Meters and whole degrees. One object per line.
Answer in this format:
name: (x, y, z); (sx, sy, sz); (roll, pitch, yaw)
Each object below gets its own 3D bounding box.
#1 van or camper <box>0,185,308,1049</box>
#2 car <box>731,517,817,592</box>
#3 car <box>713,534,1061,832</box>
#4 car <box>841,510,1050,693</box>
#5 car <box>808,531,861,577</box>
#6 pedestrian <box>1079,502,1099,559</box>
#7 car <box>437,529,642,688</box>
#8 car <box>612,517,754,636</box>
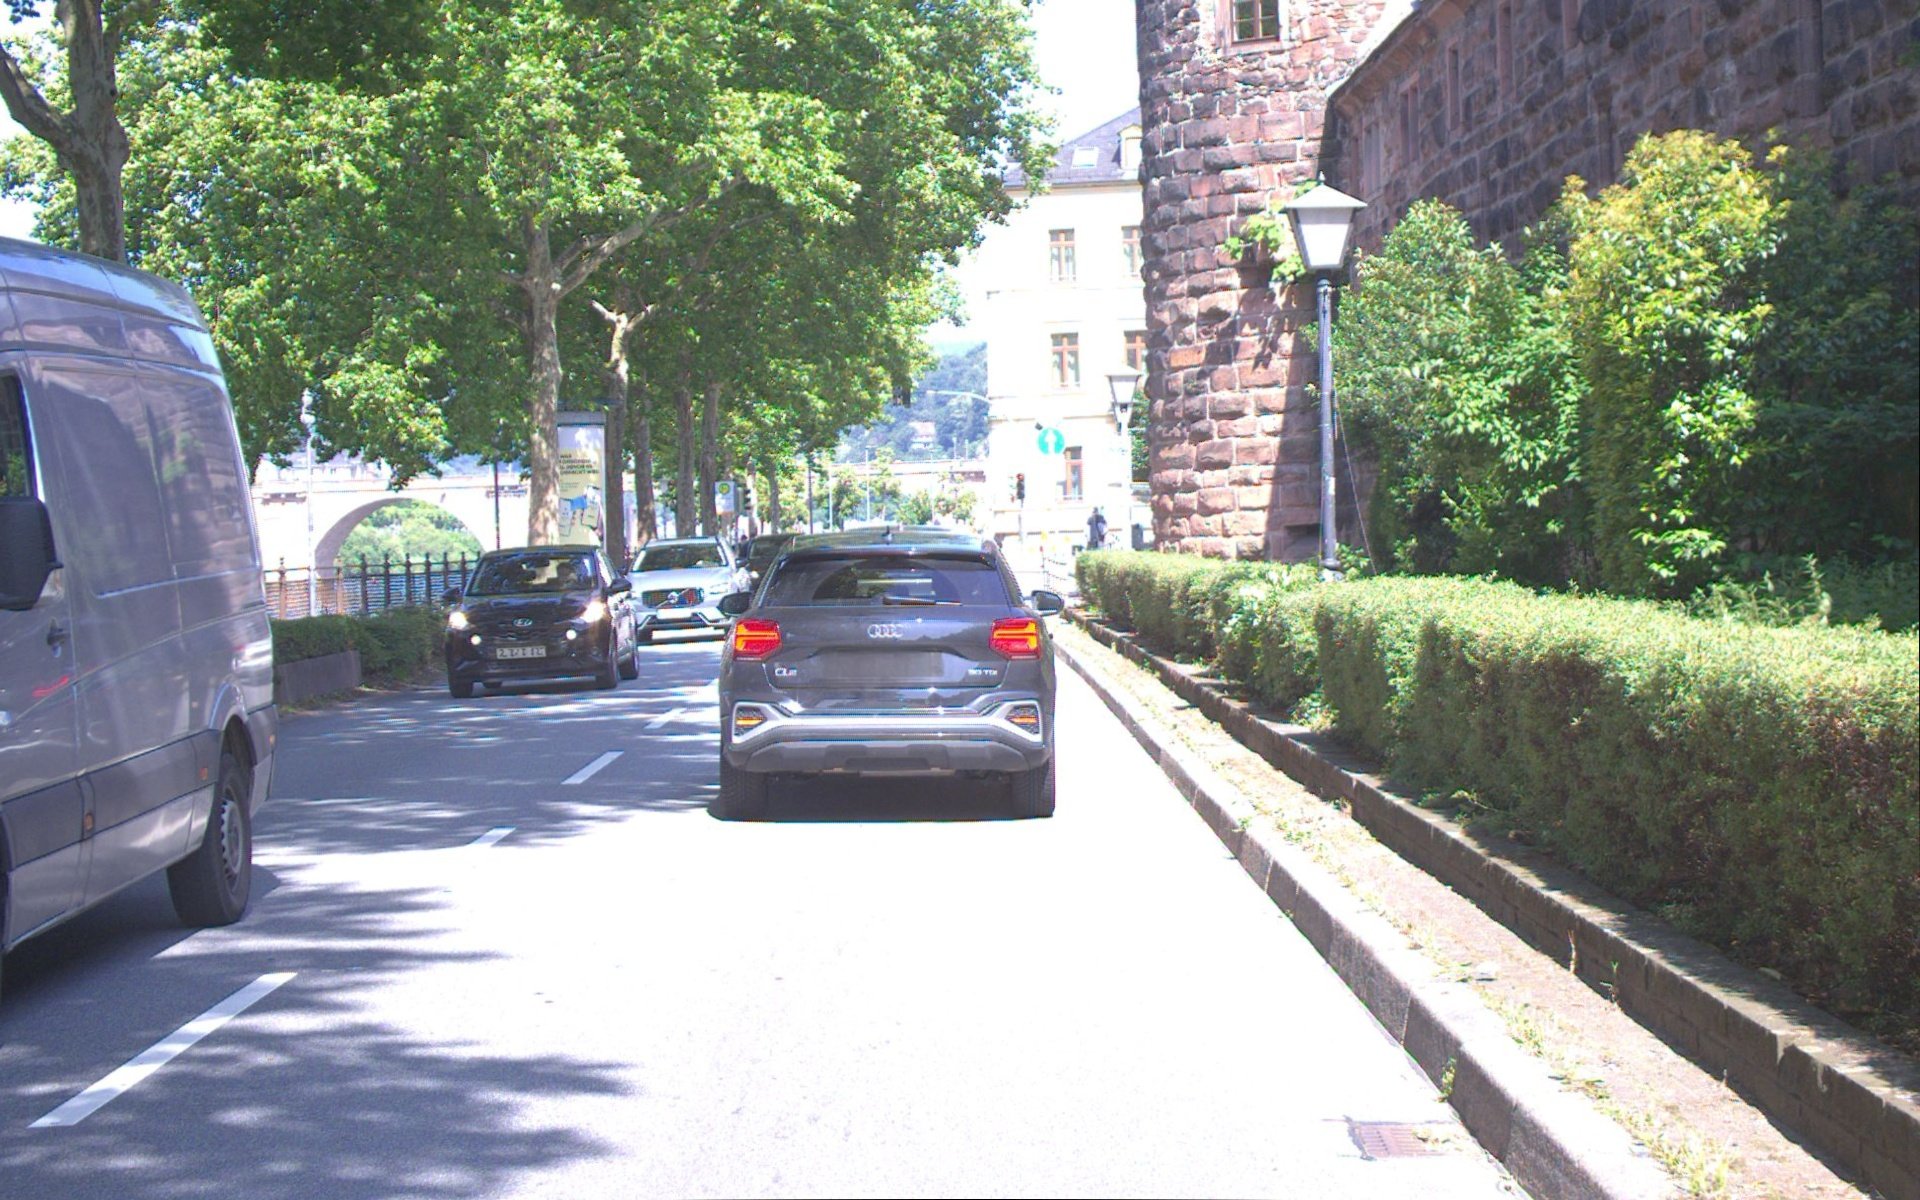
van or camper: (-3.832, 0.049, 11.734); (1.961, 2.558, 5.841); (-3, 1, 0)
car: (-4.407, -1.102, 81.836); (1.763, 1.642, 4.090); (-3, 1, 0)
car: (-0.410, 0.384, 19.183); (1.748, 1.489, 3.629); (0, 1, -1)
car: (-0.115, -0.031, 32.597); (1.801, 1.557, 3.716); (-3, 1, 1)
car: (-4.477, -1.662, 122.764); (1.615, 1.517, 3.476); (-3, 1, 2)
pedestrian: (3.745, -2.020, 99.922); (0.557, 1.627, 0.660); (0, 1, 1)
car: (-4.275, 0.043, 35.395); (1.649, 1.464, 3.780); (-3, 1, -1)
car: (-4.322, -0.387, 54.134); (1.877, 1.692, 4.259); (-3, 1, -1)
